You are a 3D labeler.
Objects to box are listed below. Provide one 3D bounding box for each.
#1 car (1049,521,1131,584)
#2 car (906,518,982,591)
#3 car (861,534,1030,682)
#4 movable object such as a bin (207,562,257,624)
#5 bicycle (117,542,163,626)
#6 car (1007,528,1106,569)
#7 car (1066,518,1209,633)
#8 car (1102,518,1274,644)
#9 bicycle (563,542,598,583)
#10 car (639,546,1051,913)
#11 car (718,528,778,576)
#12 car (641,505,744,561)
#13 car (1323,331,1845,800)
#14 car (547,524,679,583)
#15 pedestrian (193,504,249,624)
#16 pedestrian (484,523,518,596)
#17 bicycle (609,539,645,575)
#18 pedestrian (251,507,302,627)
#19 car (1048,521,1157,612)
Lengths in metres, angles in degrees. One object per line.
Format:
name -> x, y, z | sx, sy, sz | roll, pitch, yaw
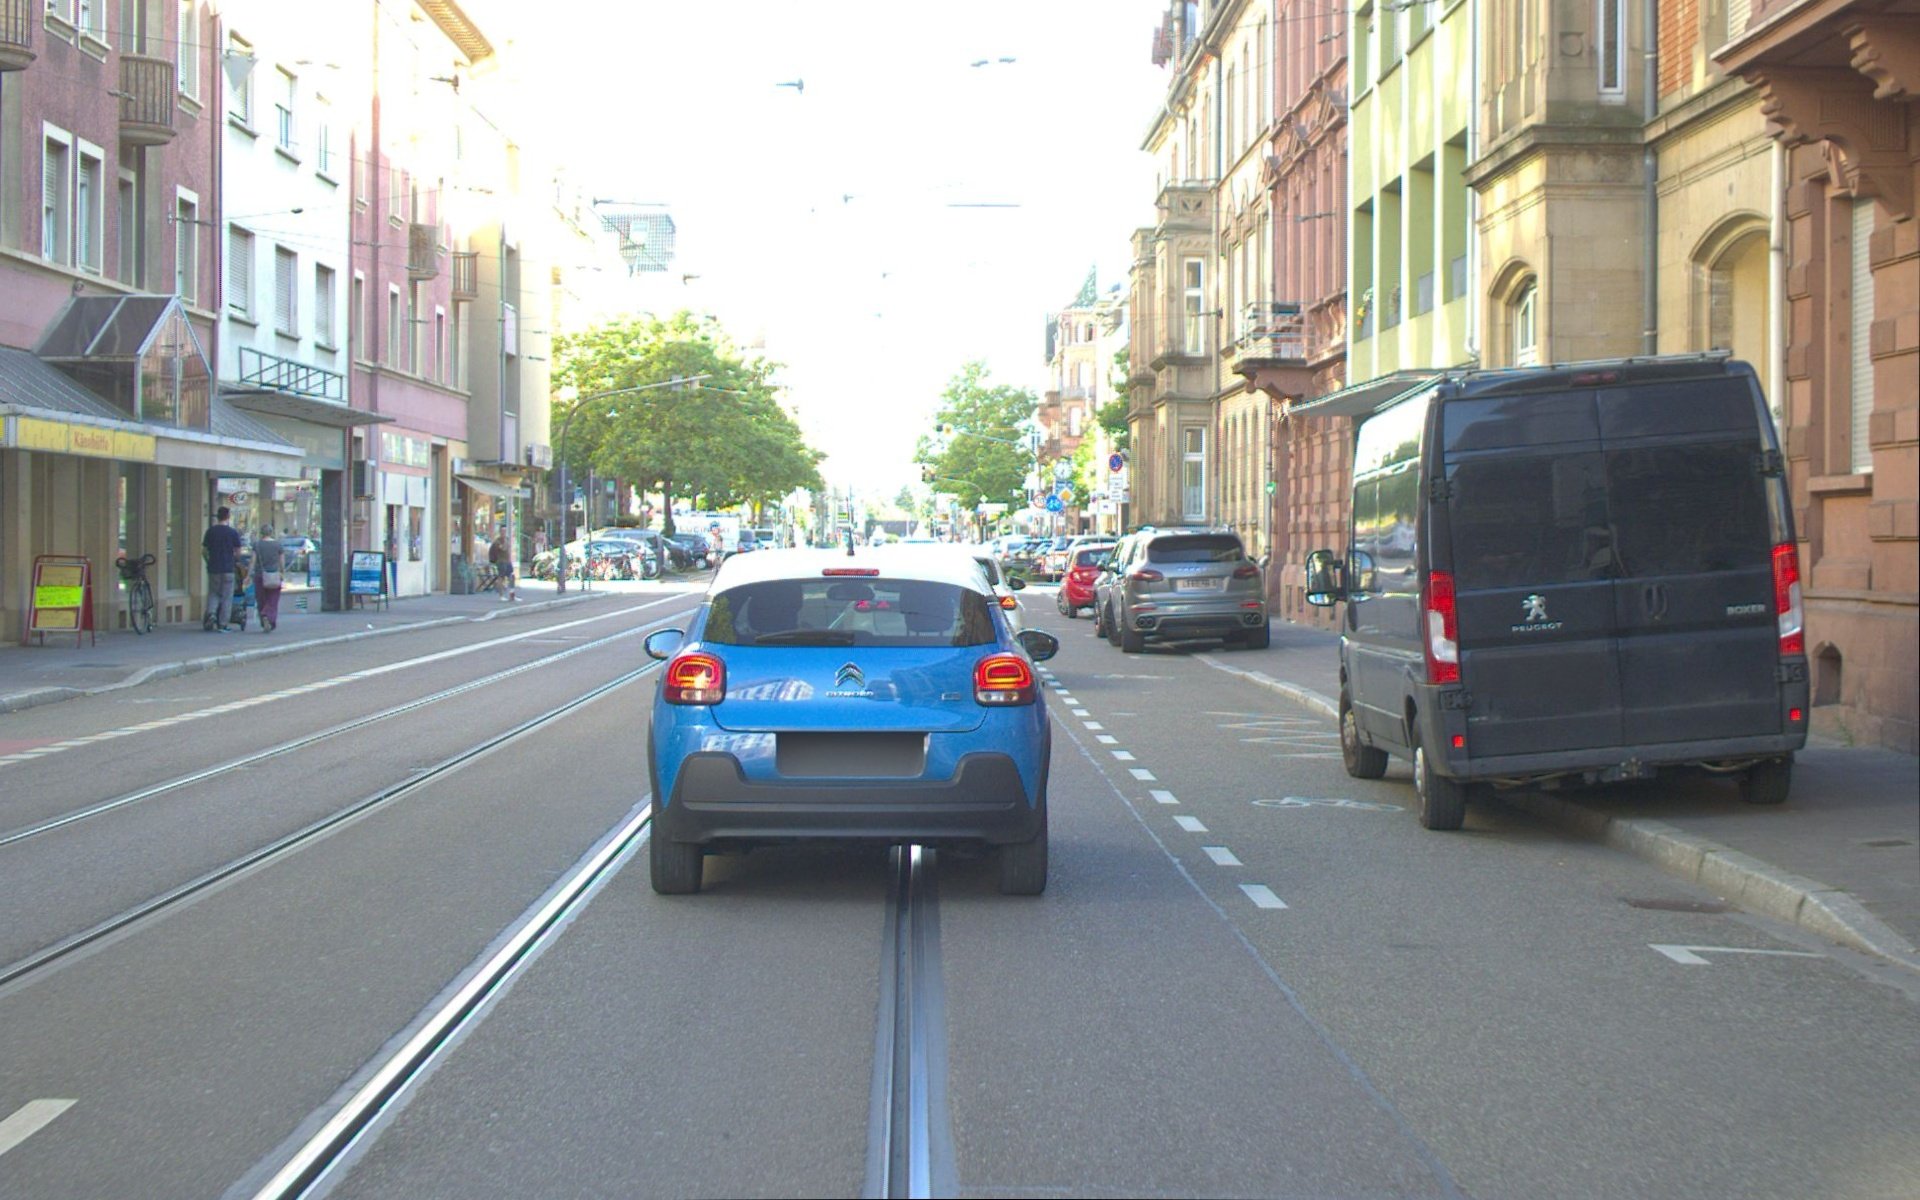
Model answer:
car -> 3.625, -1.356, 96.811 | 2.005, 1.666, 4.391 | -2, 1, -1
car -> -0.474, -1.283, 95.811 | 1.993, 2.007, 4.001 | 0, 1, -2
car -> -0.201, 0.043, 36.319 | 1.667, 1.473, 4.001 | 0, 1, -2
movable object such as a bin -> -10.869, -0.108, 51.369 | 0.610, 0.911, 0.695 | 0, 1, -1
bicycle -> -11.650, -0.239, 48.824 | 0.621, 1.155, 2.066 | 0, 1, -14
car -> 3.862, -2.075, 137.691 | 3.835, 1.612, 1.792 | 0, 1, -3
car -> 2.741, -0.409, 53.973 | 1.905, 1.751, 4.001 | 0, 1, -2
car -> 3.130, -0.298, 48.046 | 2.005, 1.667, 4.806 | 0, 1, -1
bicycle -> -12.400, -1.231, 112.297 | 1.120, 1.315, 3.645 | 0, 1, -6
car -> -0.498, 0.495, 15.957 | 1.674, 1.472, 4.000 | 0, 1, -1
car -> -7.396, -1.693, 120.339 | 1.993, 1.645, 4.001 | 0, 1, -2
car -> -12.547, -3.146, 161.033 | 4.307, 2.572, 2.210 | 0, 1, -26
car -> 3.565, -0.233, 20.858 | 2.271, 2.428, 5.720 | 1, 1, 2
car -> -12.000, -1.618, 119.060 | 4.308, 2.010, 2.209 | 0, 1, 1
pedestrian -> -10.884, -0.540, 50.657 | 0.710, 1.758, 0.570 | 0, 1, -2
pedestrian -> -10.401, -0.923, 77.910 | 0.685, 1.633, 0.675 | 0, 1, -2
bicycle -> -10.905, -1.424, 112.382 | 1.120, 1.142, 3.645 | 0, 1, -6
pedestrian -> -10.076, -0.490, 50.722 | 0.710, 1.758, 0.655 | 0, 1, -9
car -> 2.955, -0.733, 72.321 | 2.005, 1.666, 4.392 | -2, 3, -1
